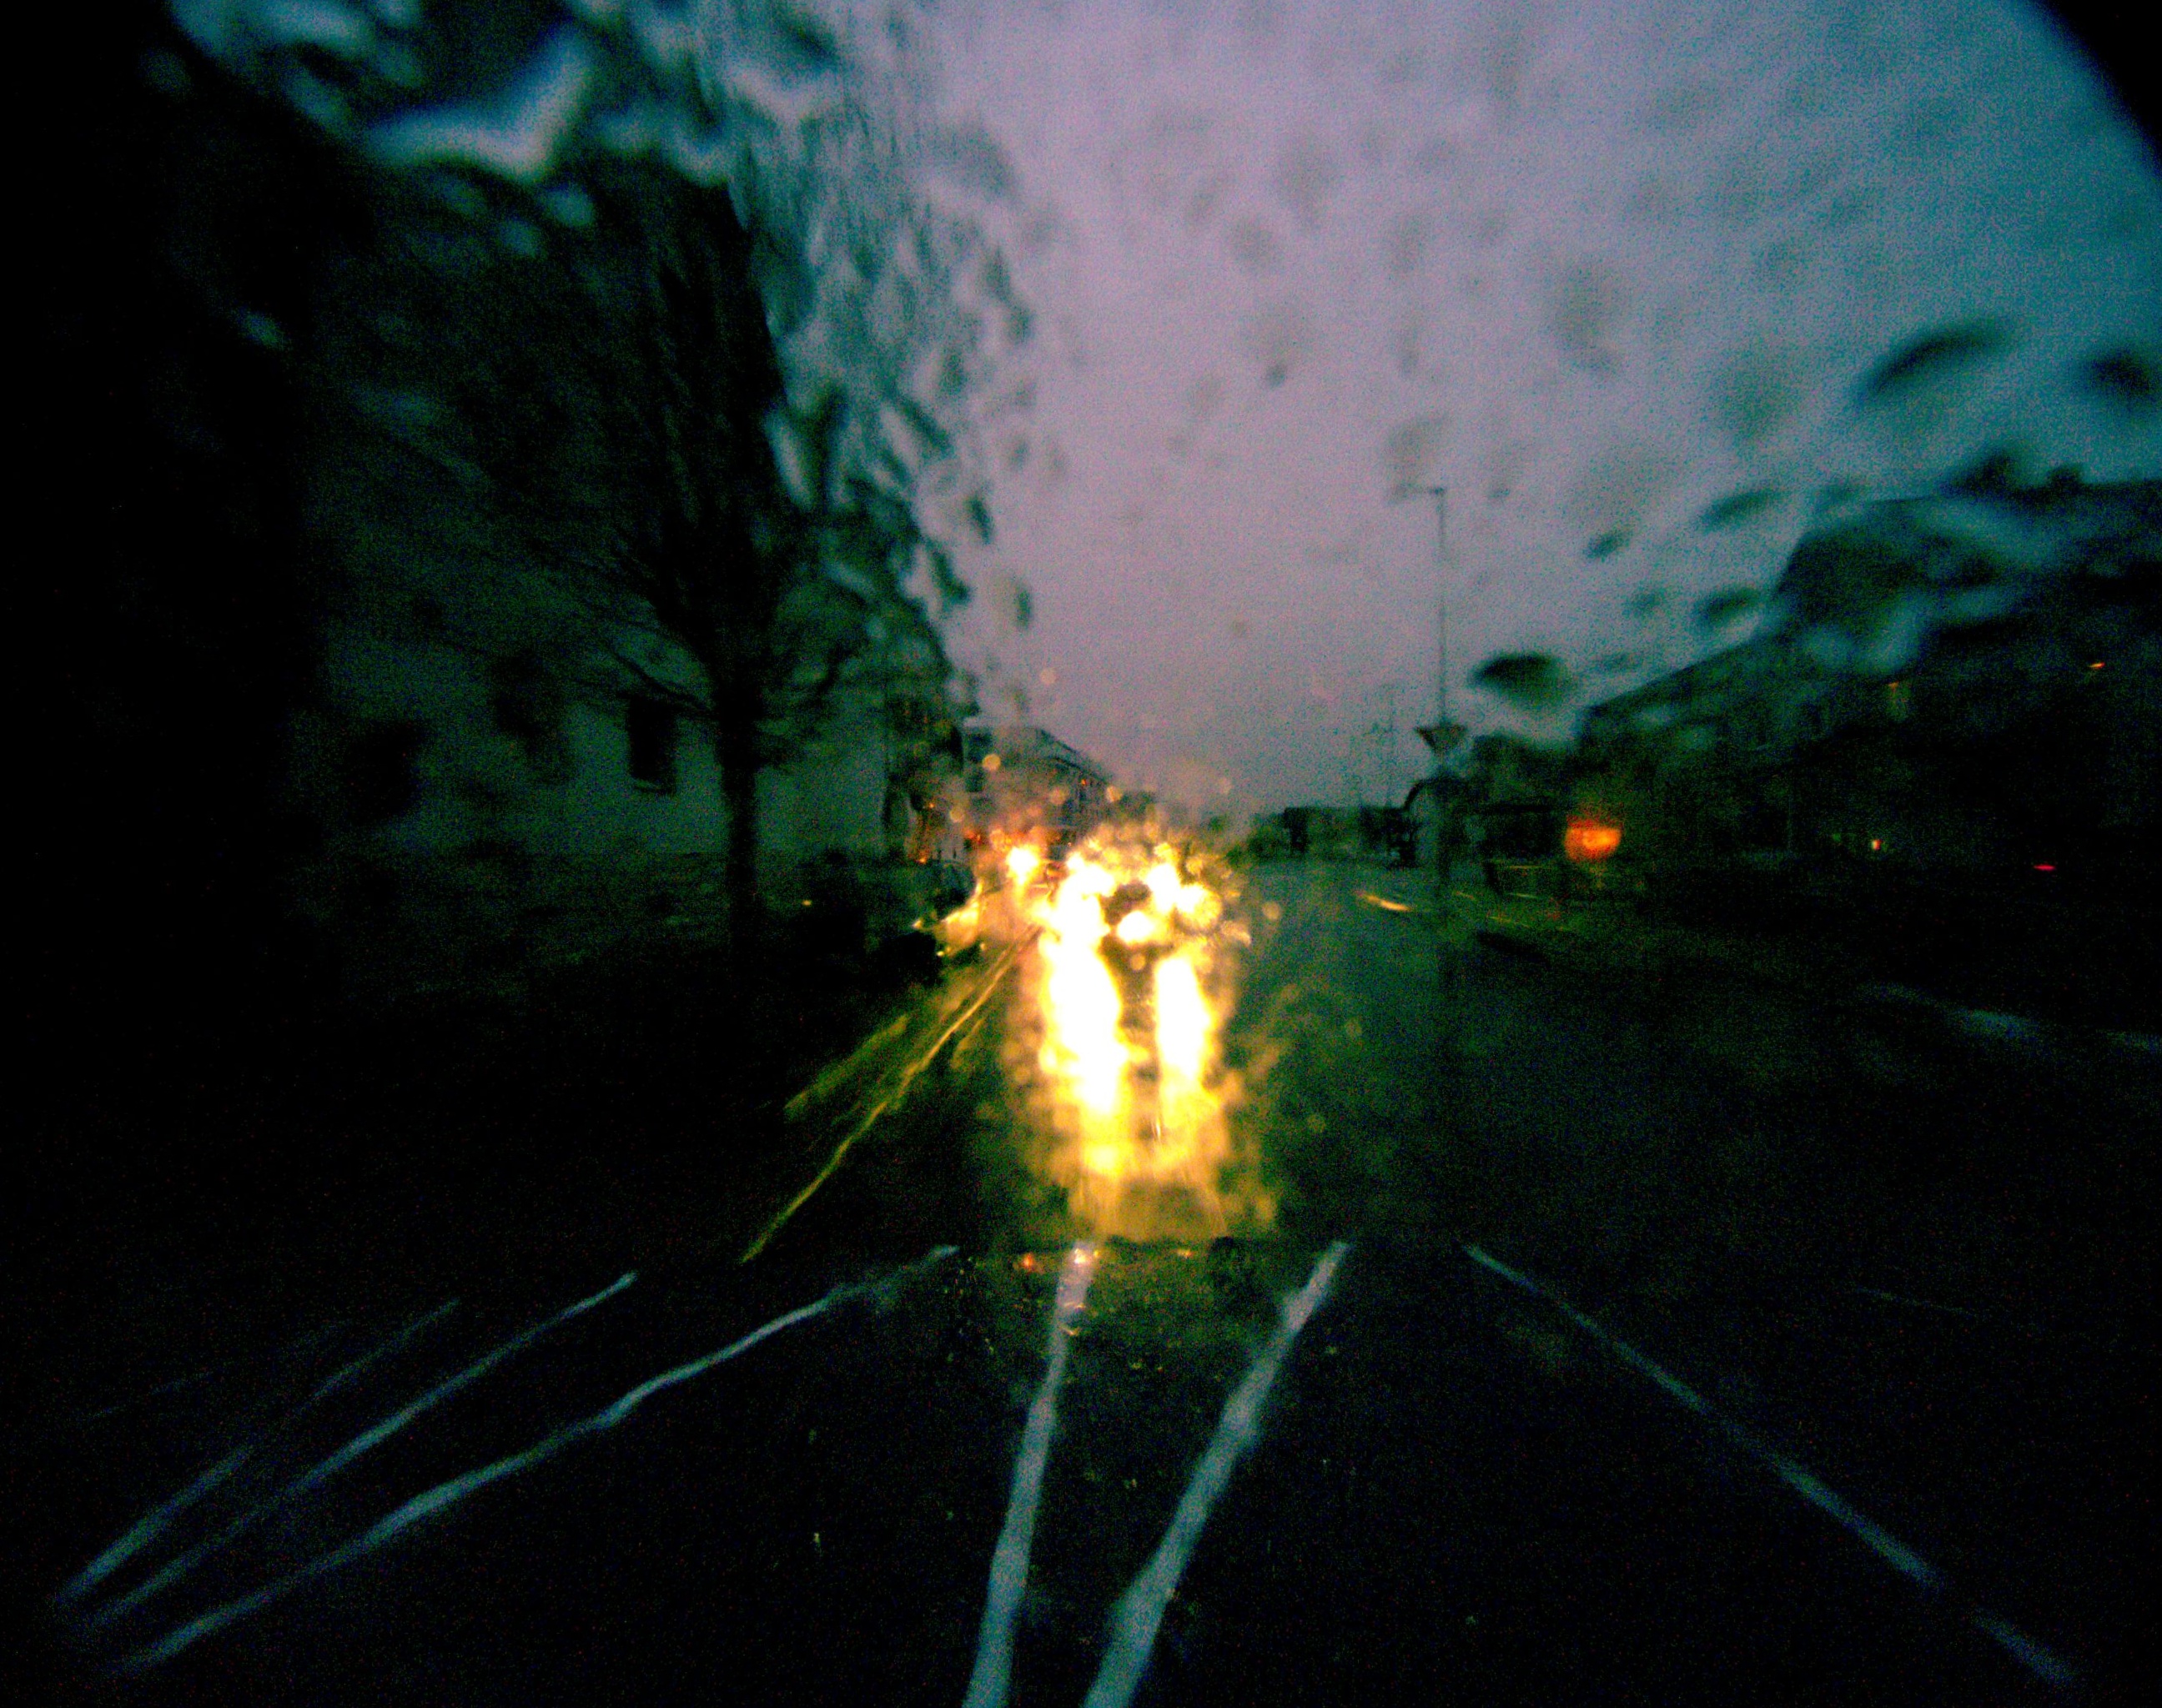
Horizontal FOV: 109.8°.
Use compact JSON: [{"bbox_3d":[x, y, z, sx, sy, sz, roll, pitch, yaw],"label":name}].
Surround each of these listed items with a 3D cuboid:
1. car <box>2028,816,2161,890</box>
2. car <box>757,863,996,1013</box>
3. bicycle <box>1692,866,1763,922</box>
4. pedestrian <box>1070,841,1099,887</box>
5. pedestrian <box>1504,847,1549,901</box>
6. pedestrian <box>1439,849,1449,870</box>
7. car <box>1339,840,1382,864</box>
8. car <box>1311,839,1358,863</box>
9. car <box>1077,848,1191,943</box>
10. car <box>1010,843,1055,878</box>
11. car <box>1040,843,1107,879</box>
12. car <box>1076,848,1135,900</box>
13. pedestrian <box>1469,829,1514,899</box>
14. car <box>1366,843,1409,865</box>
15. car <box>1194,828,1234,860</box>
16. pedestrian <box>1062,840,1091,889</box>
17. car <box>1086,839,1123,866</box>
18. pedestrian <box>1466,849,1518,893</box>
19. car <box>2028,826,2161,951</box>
[{"bbox_3d":[27.437,-0.052,19.704,3.421,1.843,1.514,0,2,11],"label":"car"},{"bbox_3d":[-2.413,0.910,10.139,1.732,1.456,4.200,2,0,4],"label":"car"},{"bbox_3d":[12.971,0.771,15.298,0.470,1.004,1.741,0,1,19],"label":"bicycle"},{"bbox_3d":[0.132,0.398,30.130,0.769,1.752,0.789,-5,4,-44],"label":"pedestrian"},{"bbox_3d":[10.947,0.484,18.684,0.687,1.264,0.750,-2,1,7],"label":"pedestrian"},{"bbox_3d":[29.535,0.437,61.752,0.581,1.602,0.500,-2,3,7],"label":"pedestrian"},{"bbox_3d":[26.437,-0.226,71.994,1.926,2.003,3.966,-3,3,-11],"label":"car"},{"bbox_3d":[23.801,-0.320,71.490,1.974,1.984,3.991,-4,3,-24],"label":"car"},{"bbox_3d":[0.942,0.713,15.394,1.958,1.576,4.109,-1,1,0],"label":"car"},{"bbox_3d":[-2.756,0.320,42.581,1.827,1.736,3.994,-3,3,-12],"label":"car"},{"bbox_3d":[-0.438,0.296,37.287,2.030,1.471,4.549,-3,3,-16],"label":"car"},{"bbox_3d":[0.760,0.619,25.950,1.763,1.471,4.018,-2,2,-1],"label":"car"},{"bbox_3d":[10.531,0.246,19.529,0.749,1.732,0.687,-2,1,2],"label":"pedestrian"},{"bbox_3d":[29.119,-0.068,72.221,1.936,1.871,3.866,-3,3,-11],"label":"car"},{"bbox_3d":[9.448,-0.755,53.621,2.055,1.976,4.541,-1,3,19],"label":"car"},{"bbox_3d":[-0.172,0.391,29.258,0.711,1.856,0.789,-5,4,-44],"label":"pedestrian"},{"bbox_3d":[1.509,-0.159,48.679,2.171,1.469,3.998,-2,3,2],"label":"car"},{"bbox_3d":[11.206,0.452,20.756,0.990,1.151,0.903,-2,-1,12],"label":"pedestrian"},{"bbox_3d":[15.434,0.494,9.534,1.758,1.691,4.567,2,0,8],"label":"car"}]
